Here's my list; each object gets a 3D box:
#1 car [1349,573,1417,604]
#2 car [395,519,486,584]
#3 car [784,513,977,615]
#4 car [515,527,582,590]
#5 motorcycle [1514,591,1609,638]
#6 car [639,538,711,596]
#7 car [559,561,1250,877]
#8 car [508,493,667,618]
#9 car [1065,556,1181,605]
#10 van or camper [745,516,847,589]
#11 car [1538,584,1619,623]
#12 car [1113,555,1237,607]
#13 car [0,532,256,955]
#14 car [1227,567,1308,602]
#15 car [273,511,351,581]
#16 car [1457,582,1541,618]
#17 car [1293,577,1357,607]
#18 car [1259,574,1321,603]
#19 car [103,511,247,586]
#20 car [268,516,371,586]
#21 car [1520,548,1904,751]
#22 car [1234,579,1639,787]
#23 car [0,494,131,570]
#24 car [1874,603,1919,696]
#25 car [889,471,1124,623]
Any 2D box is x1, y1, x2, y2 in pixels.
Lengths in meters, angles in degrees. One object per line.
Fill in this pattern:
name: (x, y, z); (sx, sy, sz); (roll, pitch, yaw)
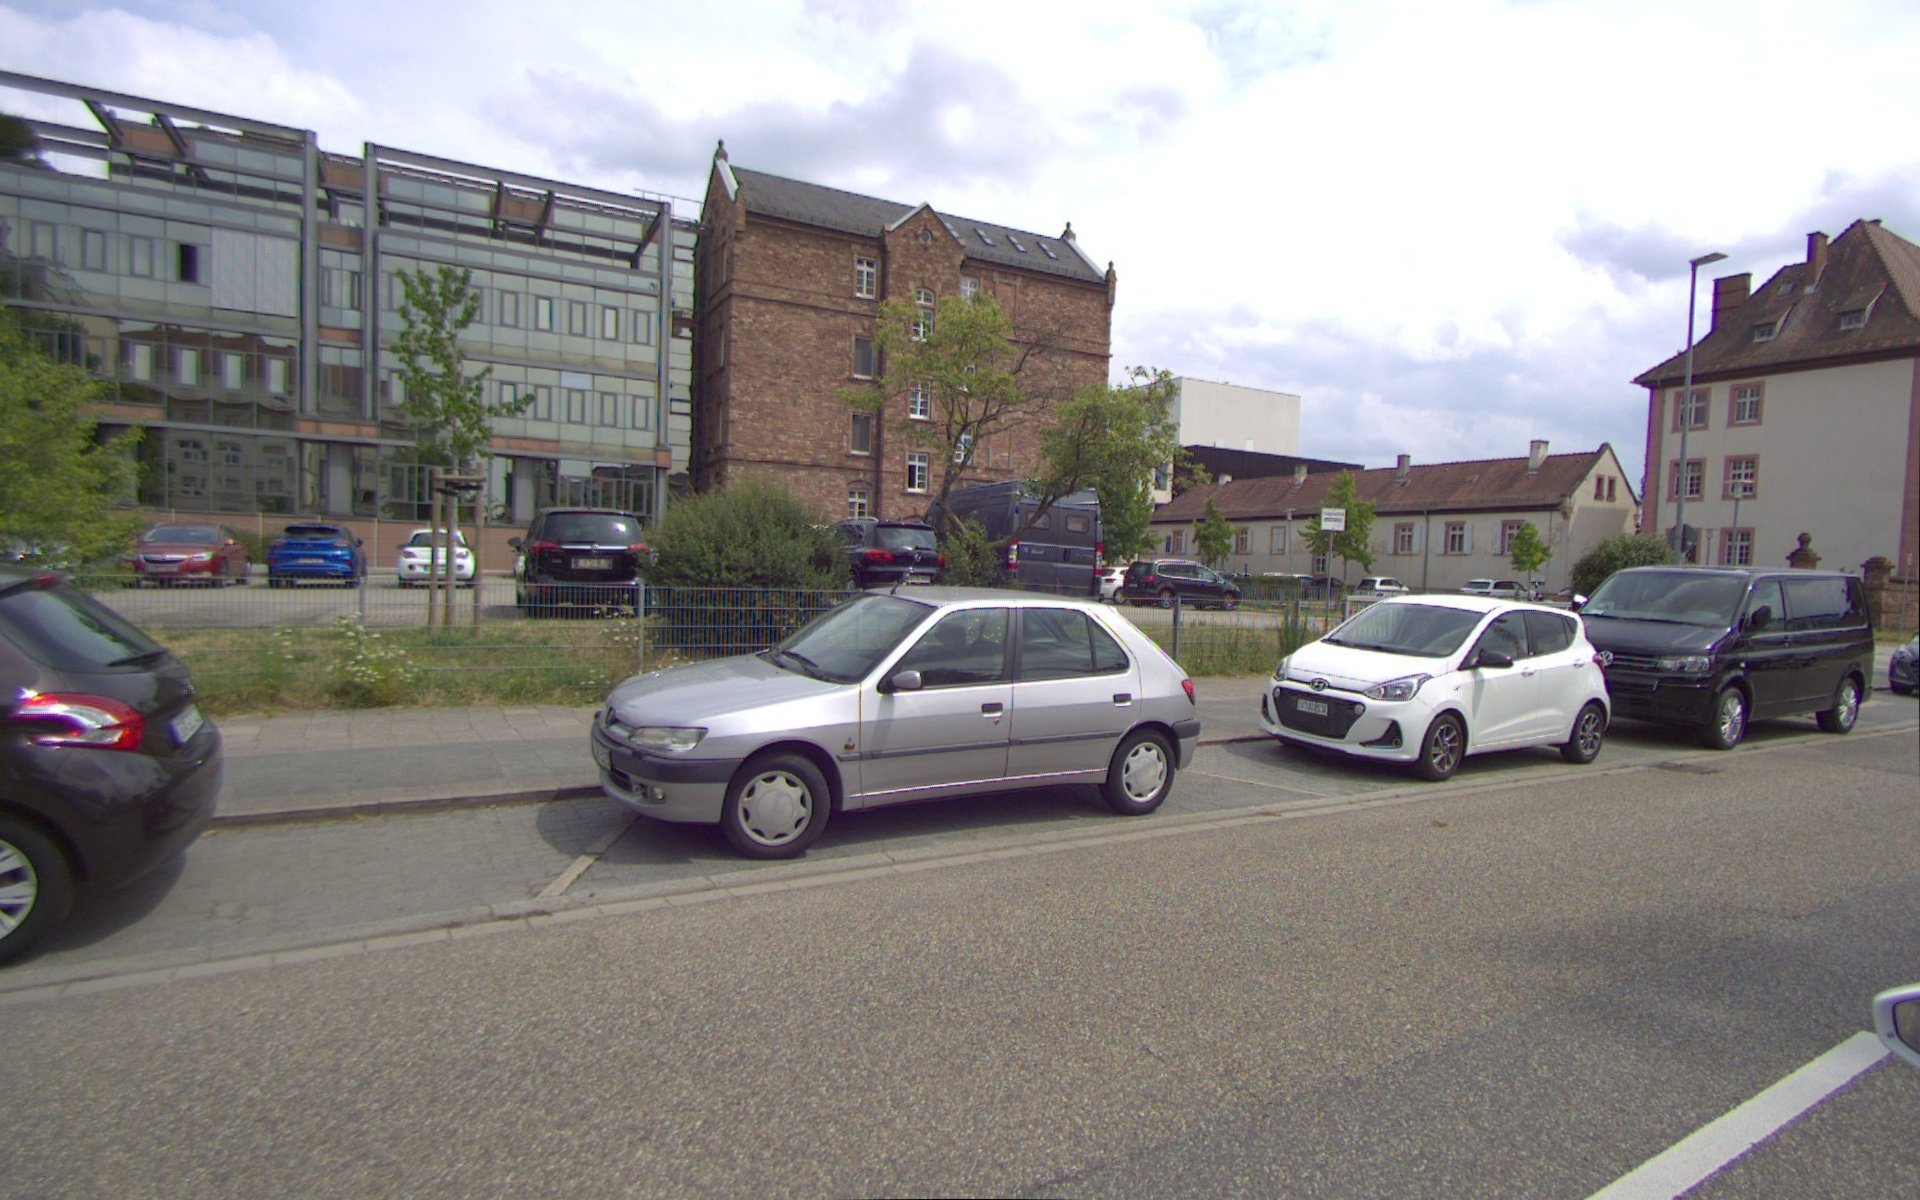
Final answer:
car: (25.028, -0.690, 59.393); (3.649, 1.734, 1.760); (-1, 3, -28)
car: (-13.624, -1.270, 26.310); (1.946, 1.503, 3.969); (2, 2, -29)
car: (-1.651, -0.681, 18.814); (1.975, 1.640, 4.679); (1, 2, -27)
car: (-15.648, -1.524, 38.060); (2.174, 2.165, 4.349); (1, 1, -24)
motorcycle: (15.635, 0.363, 26.177); (0.715, 1.157, 2.085); (2, 0, -24)
car: (-11.619, -1.315, 40.715); (2.174, 2.165, 4.349); (1, 1, -24)
car: (-0.241, 0.568, 6.586); (4.215, 1.477, 1.678); (1, 3, -32)
car: (-6.241, -0.715, 16.425); (1.974, 1.696, 5.068); (1, 2, -26)
car: (6.415, -0.754, 39.485); (4.186, 1.678, 1.954); (2, 2, -30)
van or camper: (-6.900, -1.942, 41.754); (2.551, 2.739, 5.024); (1, 1, -30)
car: (30.144, 0.126, 48.954); (3.649, 1.734, 1.760); (-1, 3, -28)
car: (7.891, -0.697, 36.818); (4.186, 1.678, 1.954); (2, 2, -30)
car: (-5.070, 0.445, 3.582); (4.000, 1.490, 1.679); (2, 3, -30)
car: (16.306, -0.834, 53.282); (4.112, 1.734, 1.578); (1, 2, -26)
car: (-22.036, -1.787, 34.284); (1.948, 2.165, 4.198); (1, 1, -30)
car: (28.147, -0.037, 52.440); (4.235, 1.734, 1.760); (-1, 3, -28)
car: (22.733, -0.535, 62.506); (3.649, 1.734, 1.760); (-1, 3, -28)
car: (21.500, -0.782, 65.469); (3.649, 1.734, 1.760); (-1, 3, -28)
car: (-18.065, -1.186, 23.324); (1.959, 1.503, 3.969); (2, 2, -29)
car: (-15.776, -1.206, 24.909); (1.835, 1.503, 3.969); (2, 2, -29)
car: (9.263, 0.506, 12.291); (4.786, 2.031, 1.939); (1, 4, -30)
car: (4.564, 0.659, 9.512); (3.722, 1.550, 1.644); (1, 3, -32)
car: (-20.295, -1.507, 22.447); (1.959, 1.503, 3.969); (2, 2, -29)
car: (17.901, 0.906, 17.418); (4.248, 1.493, 1.813); (1, 4, -31)
car: (0.718, -1.122, 20.203); (2.324, 2.586, 5.290); (2, 4, -27)
